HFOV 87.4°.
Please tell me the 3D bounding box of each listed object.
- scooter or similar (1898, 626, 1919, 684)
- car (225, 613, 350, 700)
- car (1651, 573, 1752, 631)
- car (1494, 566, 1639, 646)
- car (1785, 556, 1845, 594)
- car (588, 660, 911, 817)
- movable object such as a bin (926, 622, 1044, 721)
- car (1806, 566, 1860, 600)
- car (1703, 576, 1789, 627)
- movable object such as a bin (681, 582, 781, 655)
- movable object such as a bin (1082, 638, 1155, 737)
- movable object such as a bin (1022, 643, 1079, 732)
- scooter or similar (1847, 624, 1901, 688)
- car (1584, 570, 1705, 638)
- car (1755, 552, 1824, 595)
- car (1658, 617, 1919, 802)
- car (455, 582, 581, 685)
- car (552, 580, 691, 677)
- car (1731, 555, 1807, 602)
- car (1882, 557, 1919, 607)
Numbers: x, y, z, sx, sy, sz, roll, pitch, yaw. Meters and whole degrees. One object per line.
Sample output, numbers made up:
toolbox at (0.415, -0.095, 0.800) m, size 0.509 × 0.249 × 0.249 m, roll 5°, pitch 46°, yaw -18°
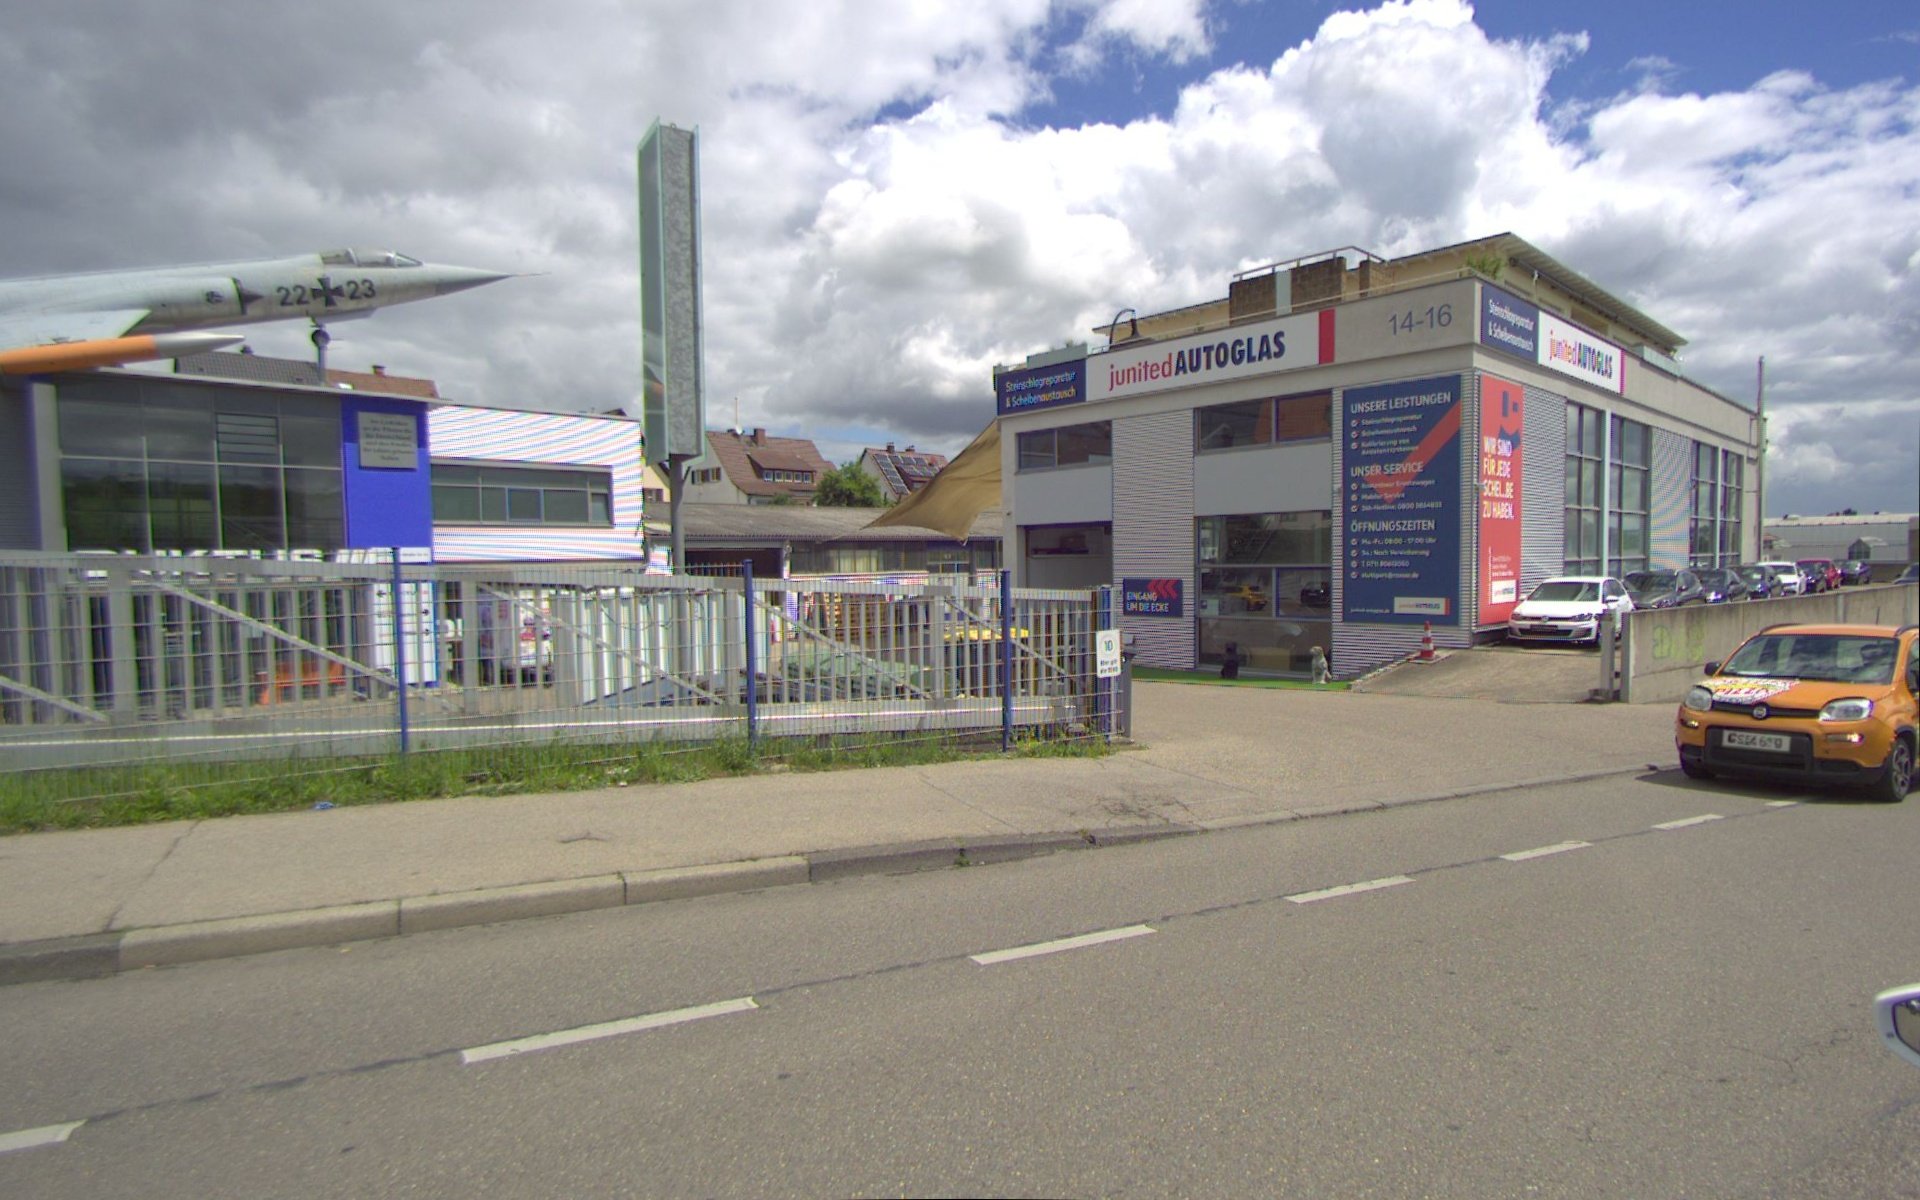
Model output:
scooter or similar at (22.251, 1.269, 23.372) m, size 1.374 × 1.293 × 0.514 m, roll 1°, pitch 2°, yaw -45°
car at (-17.552, 1.377, 26.126) m, size 1.846 × 1.801 × 4.561 m, roll -4°, pitch 4°, yaw -44°
car at (22.888, 0.094, 30.951) m, size 4.084 × 1.658 × 1.789 m, roll 2°, pitch 0°, yaw -43°
car at (13.847, 0.166, 22.840) m, size 4.084 × 1.658 × 1.789 m, roll 2°, pitch 0°, yaw -43°
car at (41.967, -1.199, 49.274) m, size 4.084 × 1.658 × 1.789 m, roll 2°, pitch 0°, yaw -43°
car at (-2.377, 1.473, 11.456) m, size 3.320 × 1.479 × 1.425 m, roll 2°, pitch 0°, yaw -28°
movable object such as a bin at (0.343, 1.006, 14.305) m, size 1.219 × 1.323 × 1.214 m, roll 1°, pitch -3°, yaw -33°
car at (47.238, -0.881, 54.344) m, size 4.084 × 1.658 × 1.789 m, roll 2°, pitch 0°, yaw -43°
car at (27.897, 0.076, 35.602) m, size 4.084 × 1.658 × 1.789 m, roll 2°, pitch 0°, yaw -43°
movable object such as a bin at (-8.015, 0.608, 35.245) m, size 3.123 × 2.382 × 1.416 m, roll -2°, pitch 3°, yaw -43°
movable object such as a bin at (1.816, 0.986, 11.544) m, size 0.511 × 1.094 × 0.659 m, roll 1°, pitch -3°, yaw -32°
movable object such as a bin at (1.124, 1.072, 12.466) m, size 0.492 × 1.074 × 0.499 m, roll 1°, pitch -3°, yaw -32°
scooter or similar at (19.235, 1.164, 21.137) m, size 1.292 × 1.293 × 0.553 m, roll 2°, pitch 0°, yaw -35°
car at (18.161, 0.124, 26.571) m, size 4.084 × 1.658 × 1.789 m, roll 2°, pitch 0°, yaw -43°
car at (35.825, -1.106, 43.331) m, size 4.084 × 1.658 × 1.789 m, roll 2°, pitch 0°, yaw -43°
car at (8.666, 0.964, 9.963) m, size 3.642 × 1.510 × 1.592 m, roll 2°, pitch -1°, yaw -33°
car at (-12.961, 0.848, 29.311) m, size 1.977 × 2.636 × 4.674 m, roll -4°, pitch 4°, yaw -41°
car at (-10.341, 0.751, 30.519) m, size 4.555 × 2.636 × 1.981 m, roll 2°, pitch 4°, yaw 42°
car at (32.204, -0.823, 39.947) m, size 4.084 × 1.658 × 1.789 m, roll 2°, pitch 0°, yaw -43°
car at (34.670, -0.601, 36.152) m, size 4.074 × 1.658 × 1.789 m, roll 2°, pitch 0°, yaw -42°
